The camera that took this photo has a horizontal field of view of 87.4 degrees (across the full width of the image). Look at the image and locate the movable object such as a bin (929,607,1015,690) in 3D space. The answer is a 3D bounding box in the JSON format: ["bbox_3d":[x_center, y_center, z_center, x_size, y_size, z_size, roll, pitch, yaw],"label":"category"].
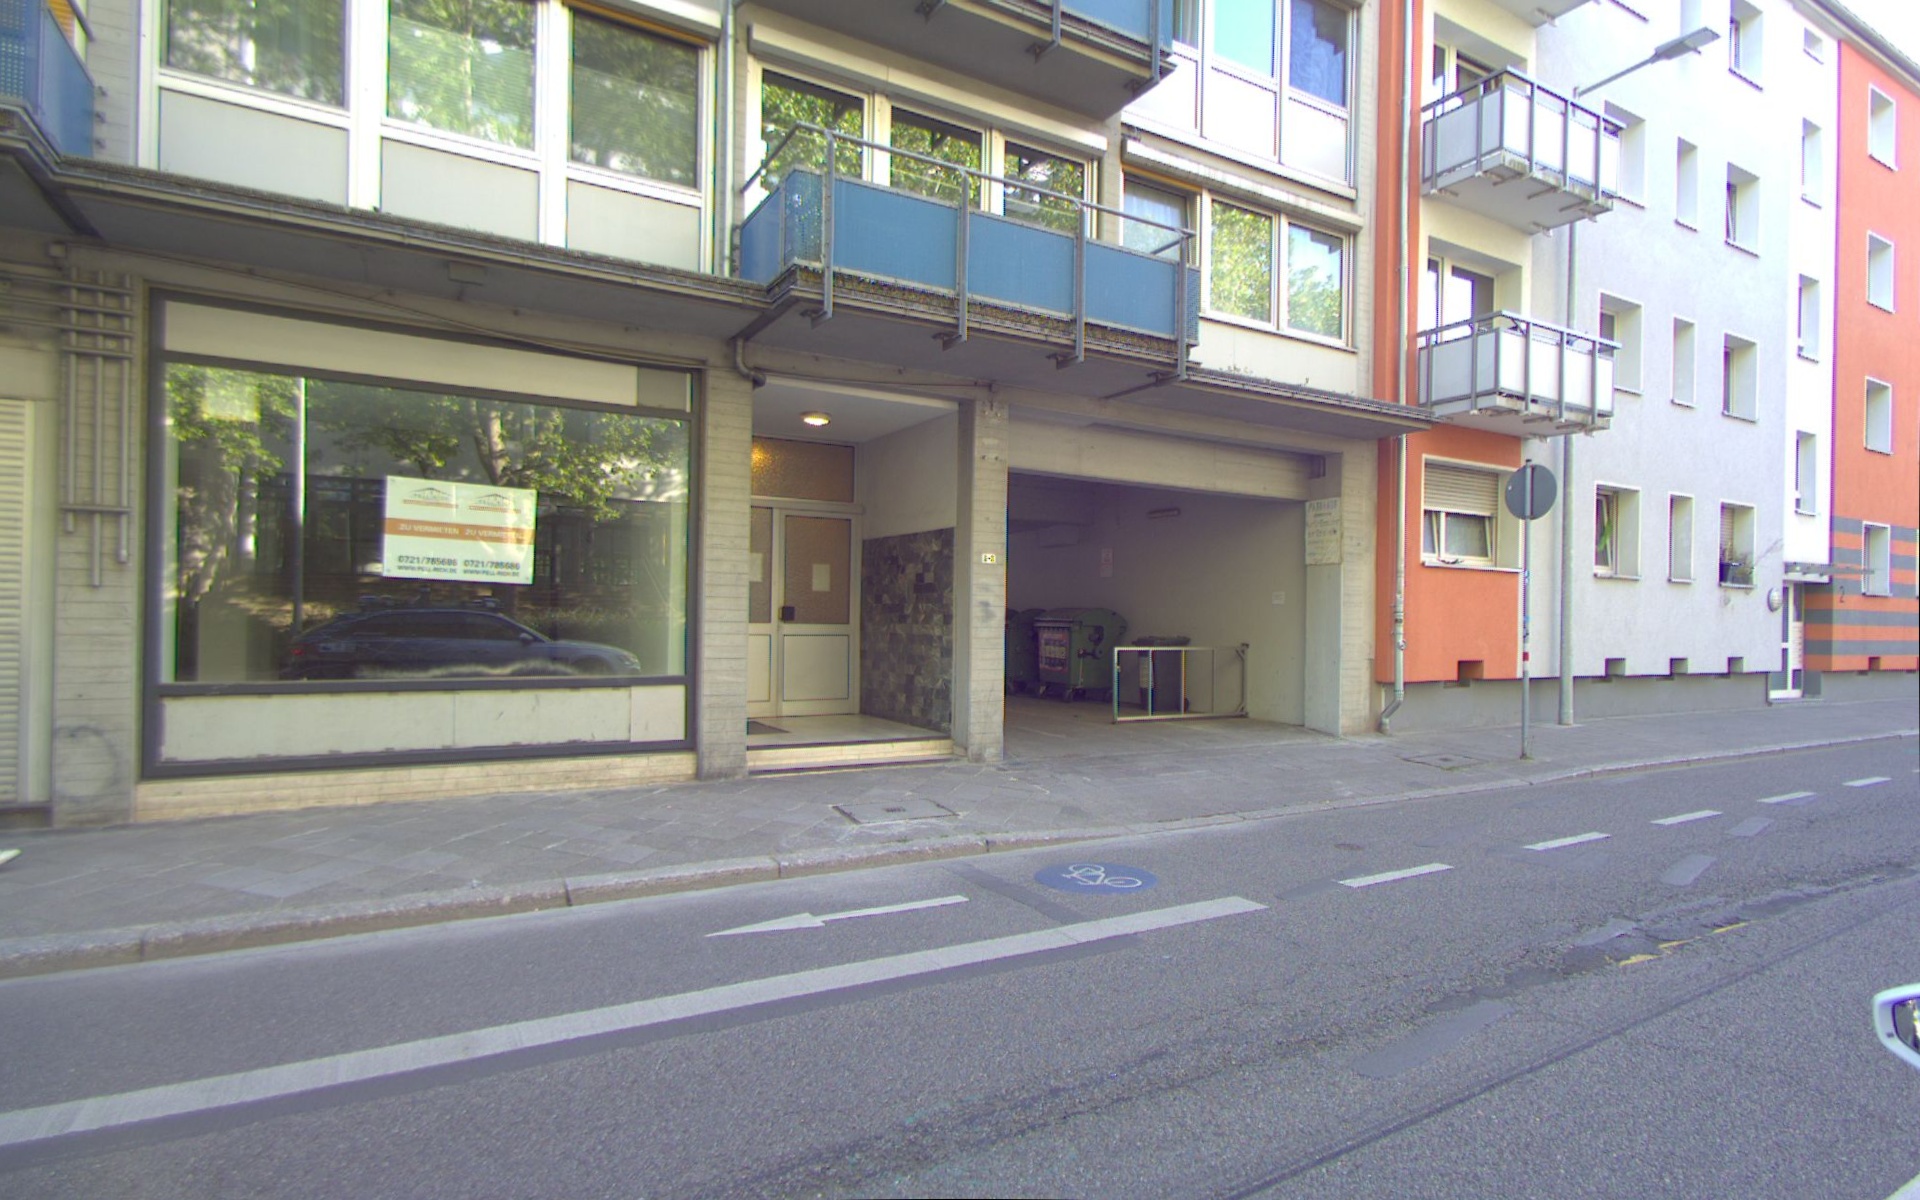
[{"bbox_3d":[0.210,0.872,18.470,1.116,1.444,1.201,1,0,-30],"label":"movable object such as a bin"}]

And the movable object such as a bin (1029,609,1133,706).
[{"bbox_3d":[1.892,0.871,15.812,1.116,1.444,1.201,1,0,-30],"label":"movable object such as a bin"}]

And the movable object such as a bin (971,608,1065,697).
[{"bbox_3d":[0.980,0.865,17.171,1.116,1.444,1.201,1,0,-30],"label":"movable object such as a bin"}]

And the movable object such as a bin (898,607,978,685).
[{"bbox_3d":[-0.437,0.879,19.619,1.116,1.444,1.201,1,0,-30],"label":"movable object such as a bin"}]

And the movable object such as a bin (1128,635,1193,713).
[{"bbox_3d":[2.889,1.053,14.502,0.667,1.079,0.639,1,0,-30],"label":"movable object such as a bin"}]

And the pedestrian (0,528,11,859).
[{"bbox_3d":[-5.407,0.504,5.034,0.784,1.795,0.658,1,0,-30],"label":"pedestrian"}]
